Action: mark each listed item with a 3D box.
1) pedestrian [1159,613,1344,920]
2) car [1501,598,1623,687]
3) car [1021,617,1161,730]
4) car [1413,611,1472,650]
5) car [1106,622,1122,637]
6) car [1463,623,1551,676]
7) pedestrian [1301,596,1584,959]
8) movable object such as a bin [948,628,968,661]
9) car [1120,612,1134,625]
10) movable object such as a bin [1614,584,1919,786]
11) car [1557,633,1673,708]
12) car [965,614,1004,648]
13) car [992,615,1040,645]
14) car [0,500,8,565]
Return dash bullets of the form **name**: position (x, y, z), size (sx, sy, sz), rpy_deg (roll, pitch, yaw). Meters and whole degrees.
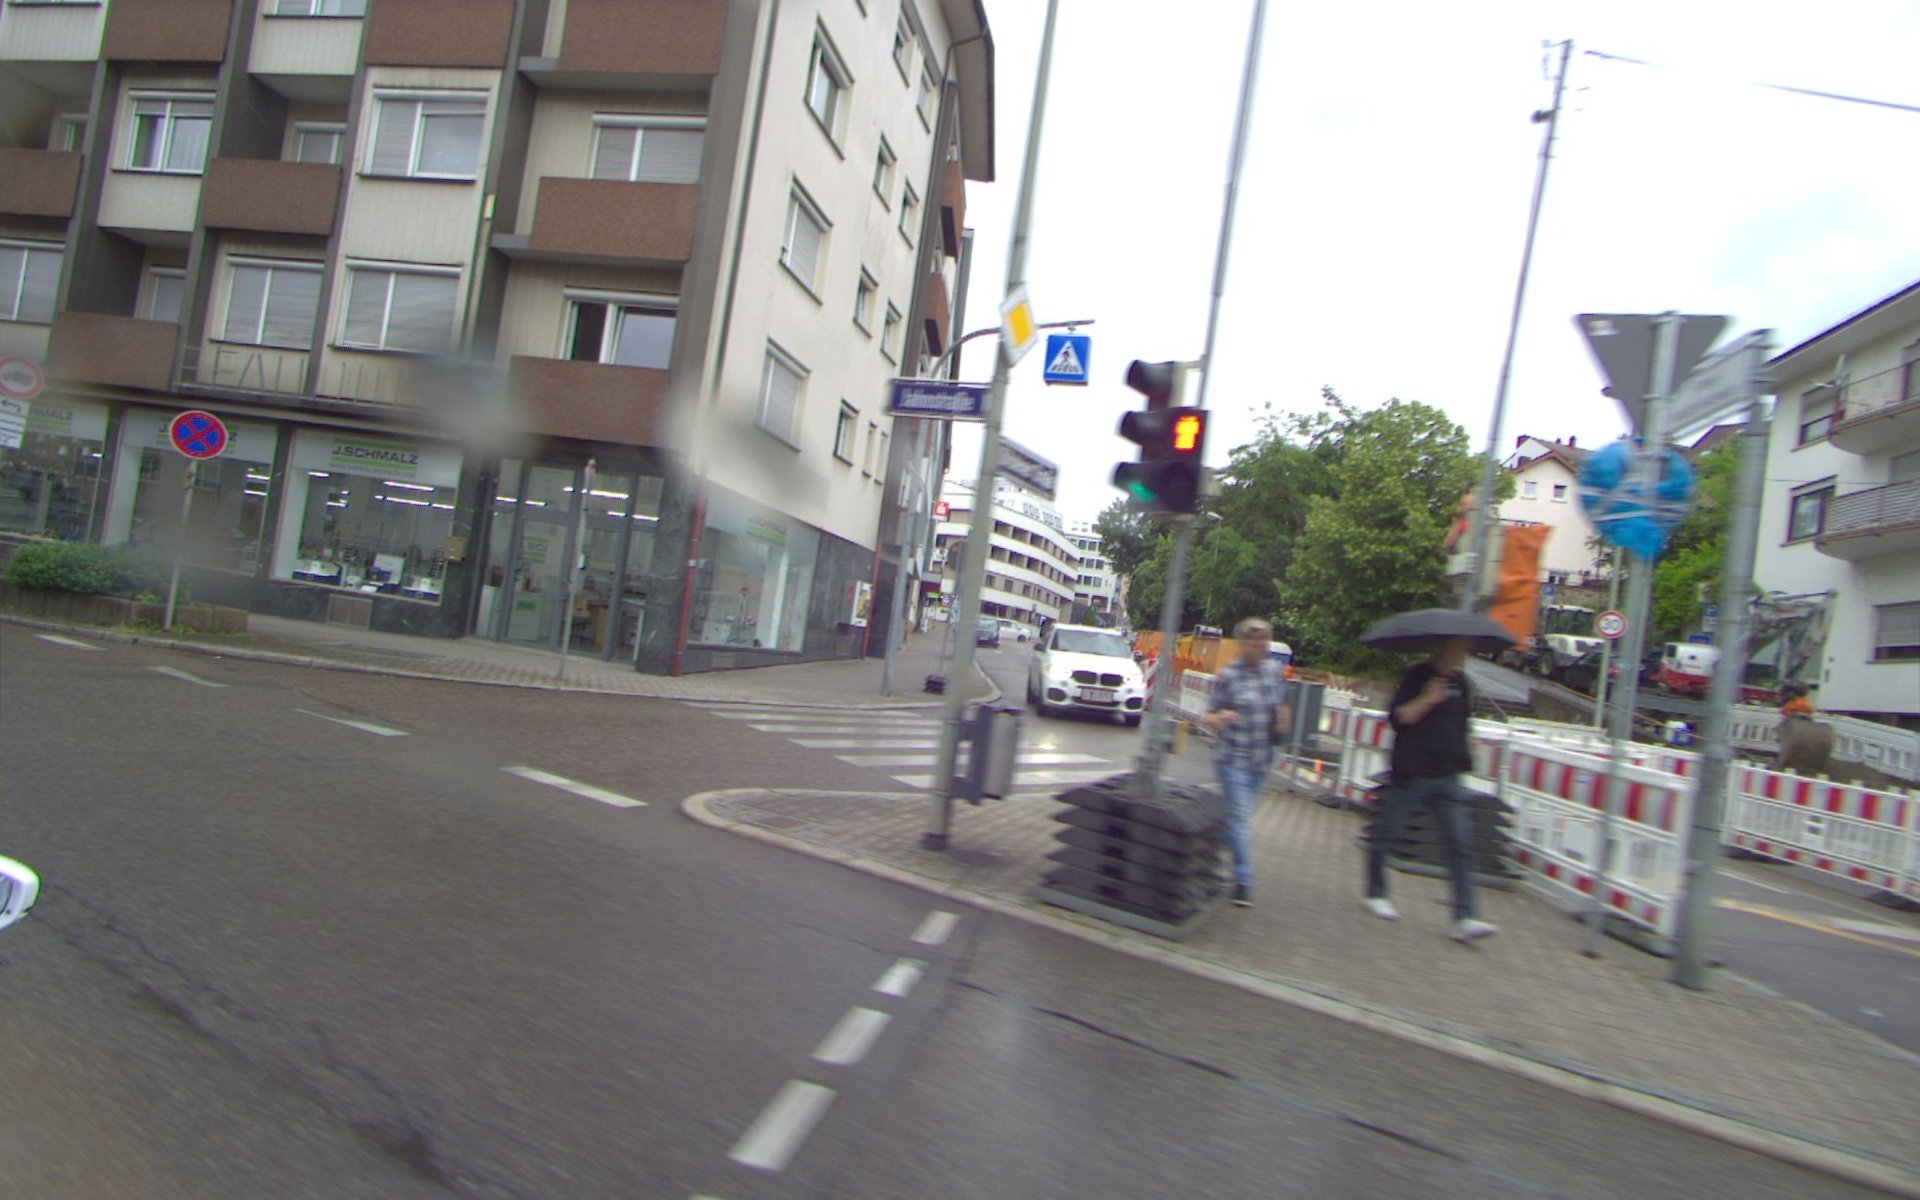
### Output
- **pedestrian**: position (1.774, 0.981, 6.251), size (0.779, 1.708, 0.822), rpy_deg (6, -1, 2)
- **car**: position (22.548, 1.500, 37.958), size (1.855, 2.653, 5.089), rpy_deg (8, 5, 9)
- **car**: position (2.429, 1.315, 19.875), size (1.963, 1.741, 4.798), rpy_deg (7, -1, 0)
- **car**: position (26.193, 1.610, 54.746), size (1.855, 1.588, 4.211), rpy_deg (8, 5, 13)
- **car**: position (24.029, 4.556, 156.624), size (1.962, 1.810, 3.993), rpy_deg (7, 5, 14)
- **car**: position (23.518, 2.096, 43.443), size (1.855, 1.588, 4.537), rpy_deg (8, 5, 11)
- **pedestrian**: position (2.771, 0.982, 5.882), size (1.014, 1.883, 0.918), rpy_deg (6, -1, -9)
- **movable object such as a bin**: position (-0.066, 1.522, 34.434), size (0.521, 1.058, 0.540), rpy_deg (8, -4, 2)
- **car**: position (29.671, 3.251, 178.247), size (1.962, 1.810, 3.994), rpy_deg (7, 4, 14)
- **movable object such as a bin**: position (18.501, 1.642, 23.481), size (2.690, 3.686, 6.531), rpy_deg (8, 3, 11)
- **car**: position (20.824, 2.176, 32.162), size (1.730, 1.749, 3.712), rpy_deg (8, 5, 13)
- **car**: position (1.402, 1.749, 58.233), size (1.893, 1.622, 4.000), rpy_deg (9, -1, -1)
- **car**: position (5.108, 2.762, 92.105), size (4.022, 2.034, 2.003), rpy_deg (9, -4, 0)
- **car**: position (-12.216, -0.569, 10.672), size (3.986, 1.514, 1.788), rpy_deg (7, -1, 28)
